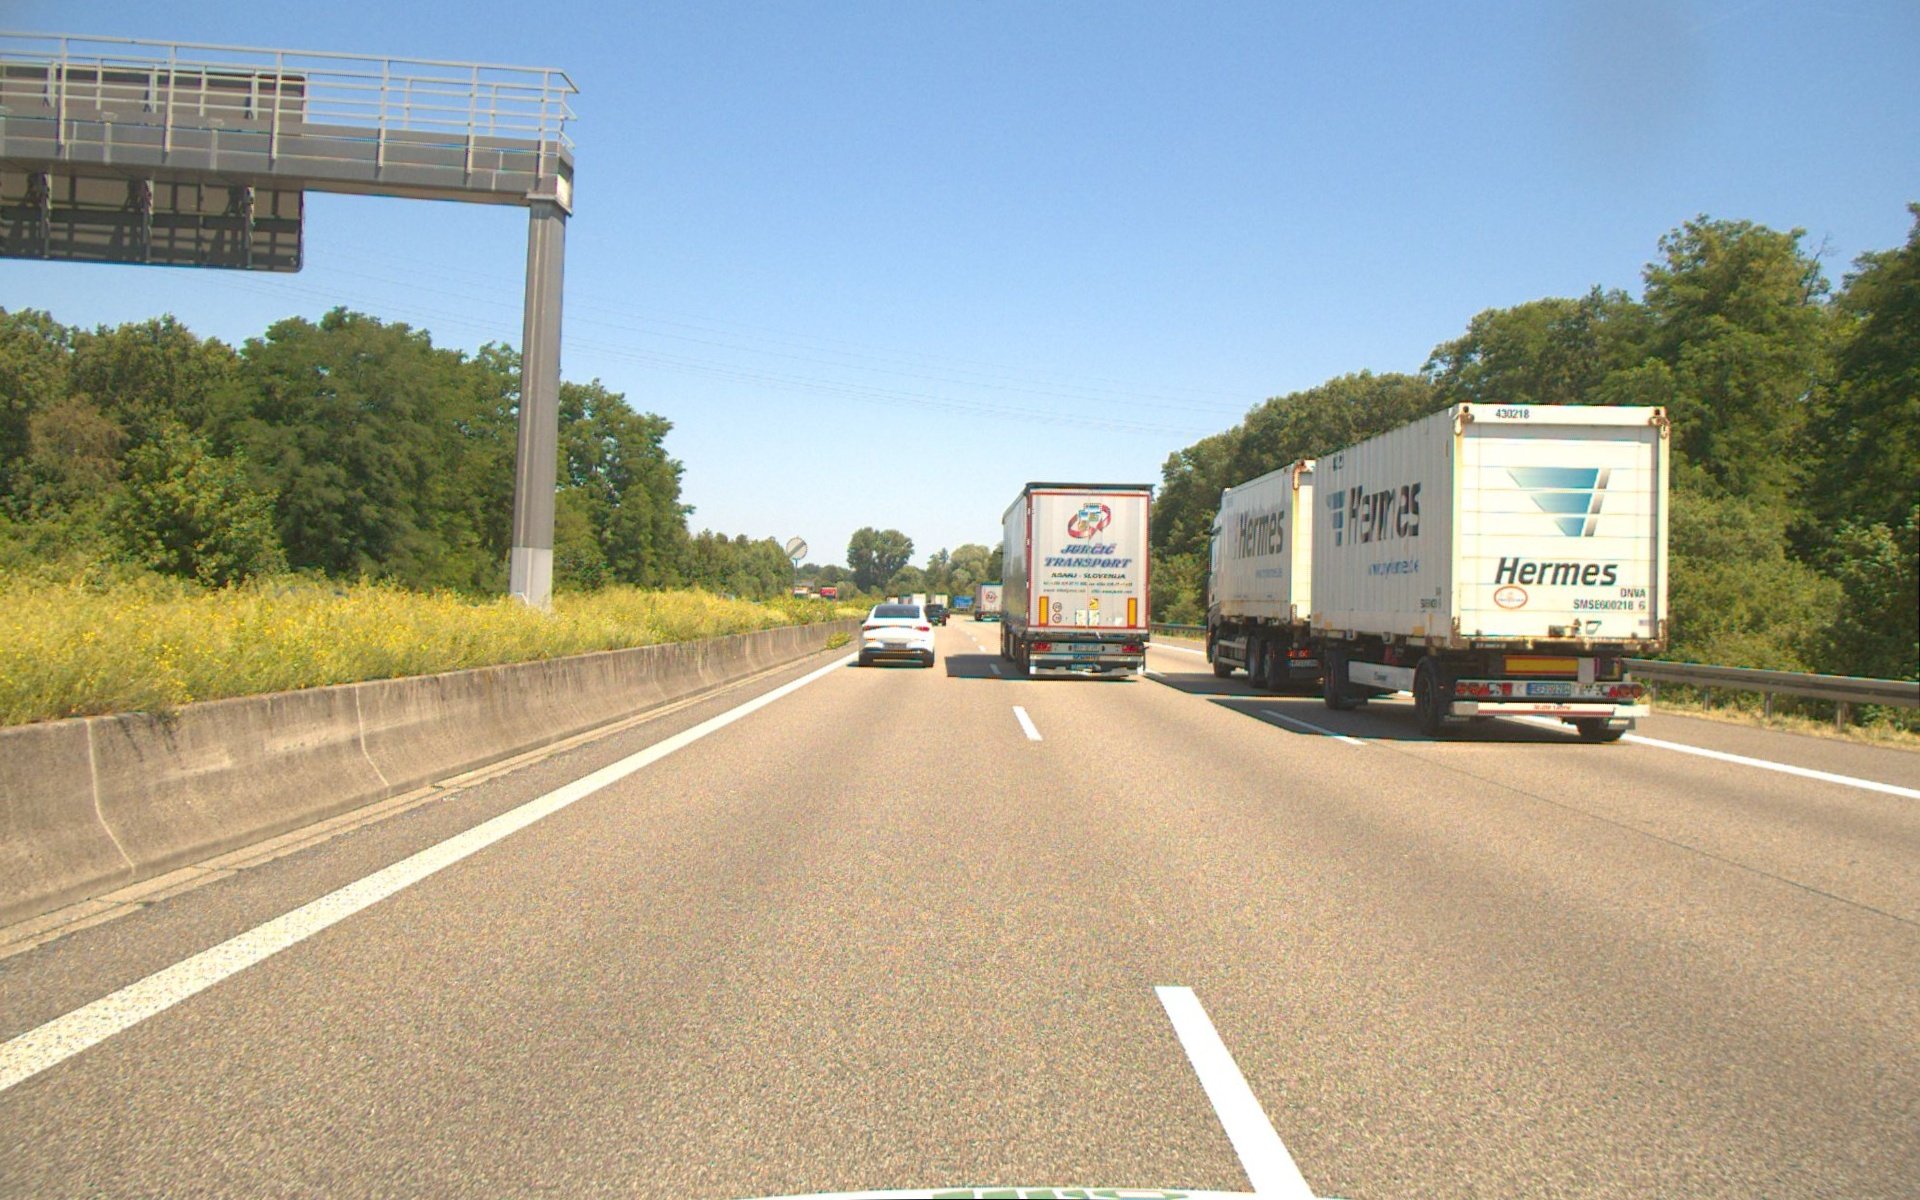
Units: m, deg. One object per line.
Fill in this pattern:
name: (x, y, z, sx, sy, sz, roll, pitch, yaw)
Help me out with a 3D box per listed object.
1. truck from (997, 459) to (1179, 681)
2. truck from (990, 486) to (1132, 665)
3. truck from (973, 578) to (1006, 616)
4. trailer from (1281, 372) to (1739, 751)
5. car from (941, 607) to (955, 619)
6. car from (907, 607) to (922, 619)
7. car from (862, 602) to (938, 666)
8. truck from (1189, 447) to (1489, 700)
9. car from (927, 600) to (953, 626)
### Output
truck: (2.610, -0.582, 36.720, 3.164, 4.275, 8.464, 1, 0, -1)
truck: (2.512, -0.583, 43.322, 3.153, 4.278, 6.549, 1, 0, -1)
truck: (3.285, -0.334, 187.347, 3.375, 4.059, 9.513, 1, 0, -1)
trailer: (7.107, -0.447, 23.247, 3.299, 4.215, 9.090, 1, 0, 0)
car: (-1.663, 1.815, 229.756, 1.953, 1.624, 3.999, 1, 0, -1)
car: (-6.202, 1.730, 223.834, 1.953, 1.624, 3.999, 1, 0, -1)
car: (-1.457, 0.790, 40.823, 1.731, 1.474, 5.106, 1, 0, -2)
truck: (7.043, -0.415, 32.886, 3.258, 4.124, 10.951, 1, 0, -1)
car: (-1.611, 1.026, 131.176, 1.953, 1.906, 3.999, 1, 1, -2)
